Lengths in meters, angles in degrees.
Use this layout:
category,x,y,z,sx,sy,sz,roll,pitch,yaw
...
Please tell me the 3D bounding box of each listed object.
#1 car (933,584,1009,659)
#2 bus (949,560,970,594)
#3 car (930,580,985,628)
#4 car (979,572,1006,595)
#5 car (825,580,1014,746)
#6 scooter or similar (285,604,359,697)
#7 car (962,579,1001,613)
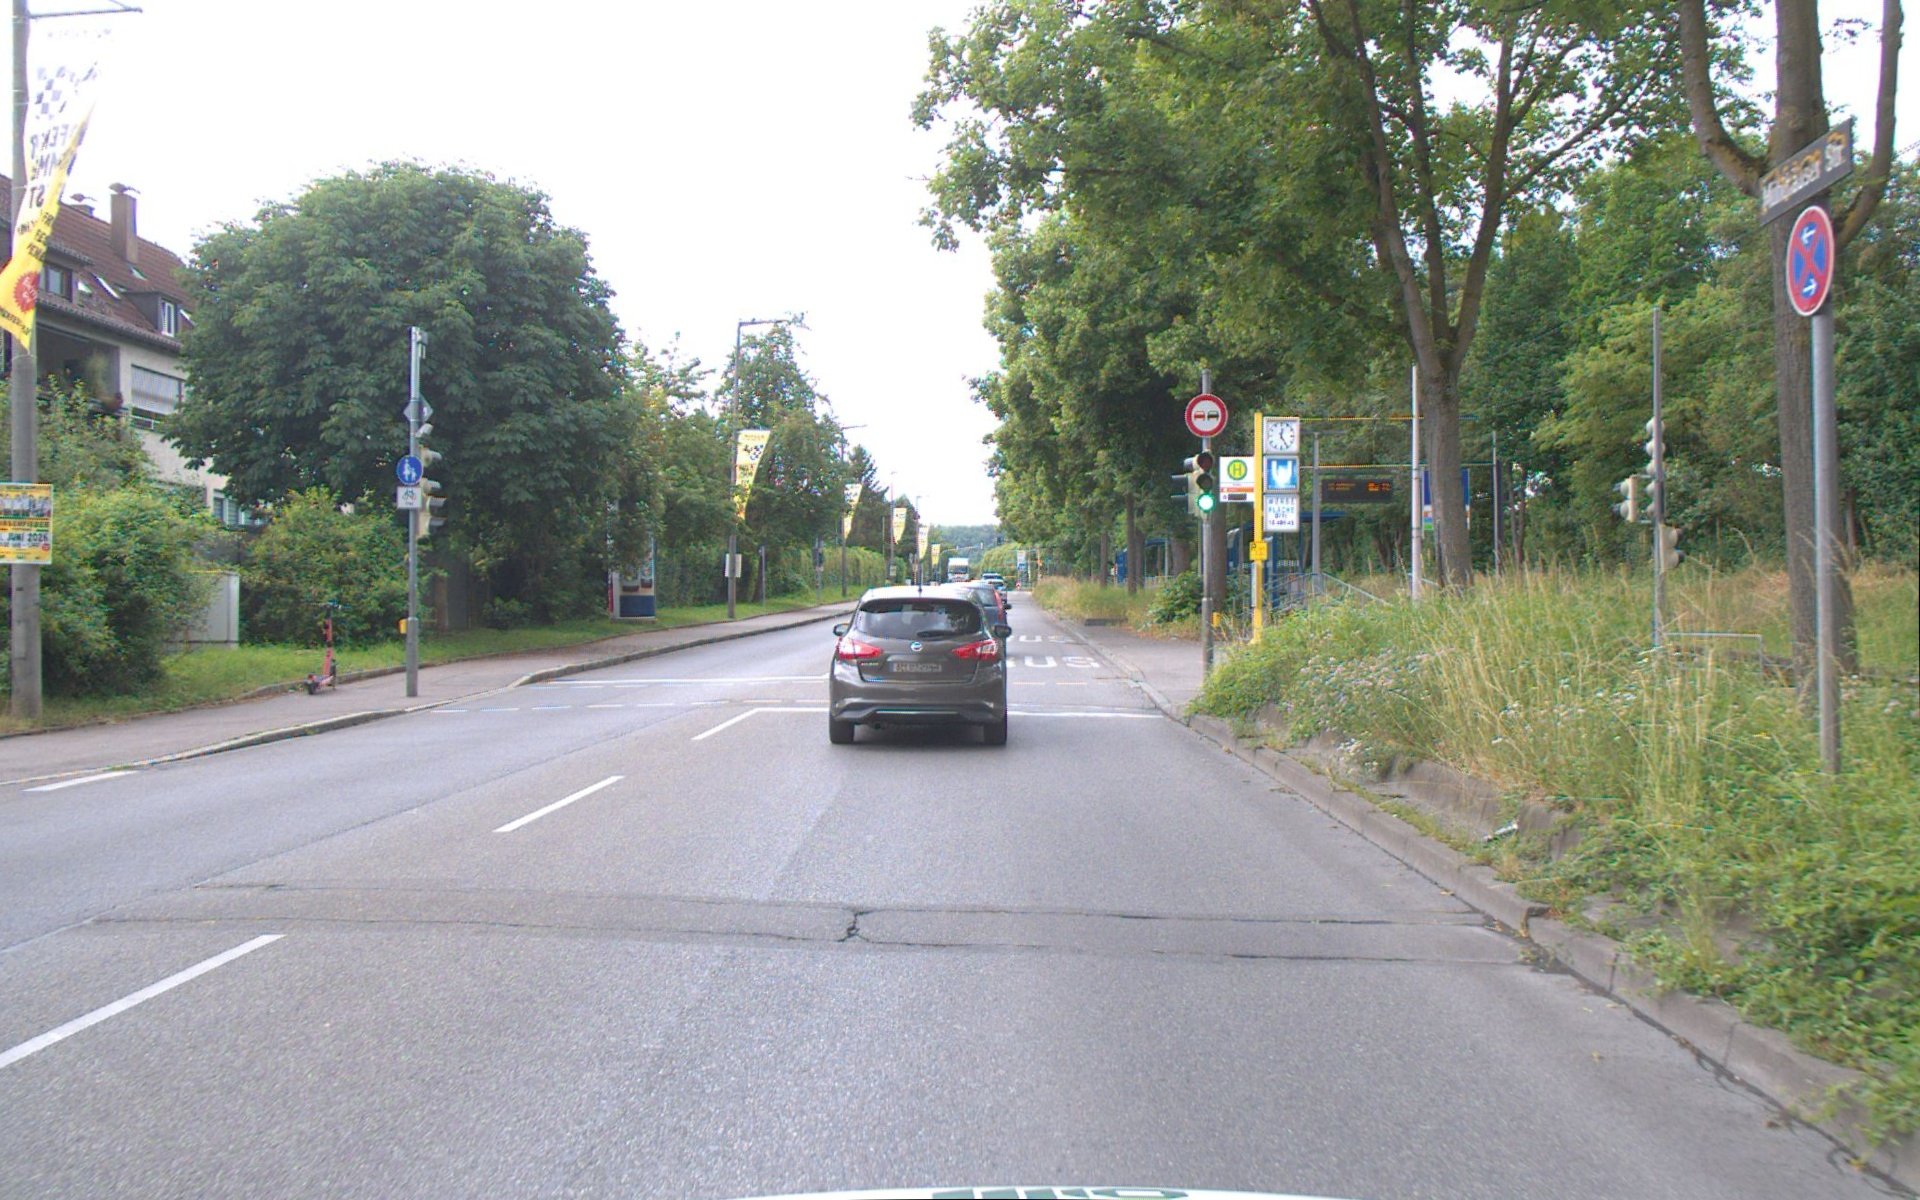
category,x,y,z,sx,sy,sz,roll,pitch,yaw
car,0.246,0.412,33.929,1.471,1.466,3.542,0,0,1
bus,-0.048,-2.846,206.448,2.436,4.096,10.219,0,0,1
car,-0.042,0.109,52.271,1.656,1.466,3.542,0,0,1
car,2.066,-1.020,103.496,1.656,1.466,3.542,0,0,1
car,-0.314,0.586,17.149,1.746,1.533,3.697,0,0,2
scooter or similar,-9.109,0.707,23.658,0.453,1.281,1.426,0,0,2
car,0.972,-0.184,73.506,1.656,1.466,3.542,0,0,1
